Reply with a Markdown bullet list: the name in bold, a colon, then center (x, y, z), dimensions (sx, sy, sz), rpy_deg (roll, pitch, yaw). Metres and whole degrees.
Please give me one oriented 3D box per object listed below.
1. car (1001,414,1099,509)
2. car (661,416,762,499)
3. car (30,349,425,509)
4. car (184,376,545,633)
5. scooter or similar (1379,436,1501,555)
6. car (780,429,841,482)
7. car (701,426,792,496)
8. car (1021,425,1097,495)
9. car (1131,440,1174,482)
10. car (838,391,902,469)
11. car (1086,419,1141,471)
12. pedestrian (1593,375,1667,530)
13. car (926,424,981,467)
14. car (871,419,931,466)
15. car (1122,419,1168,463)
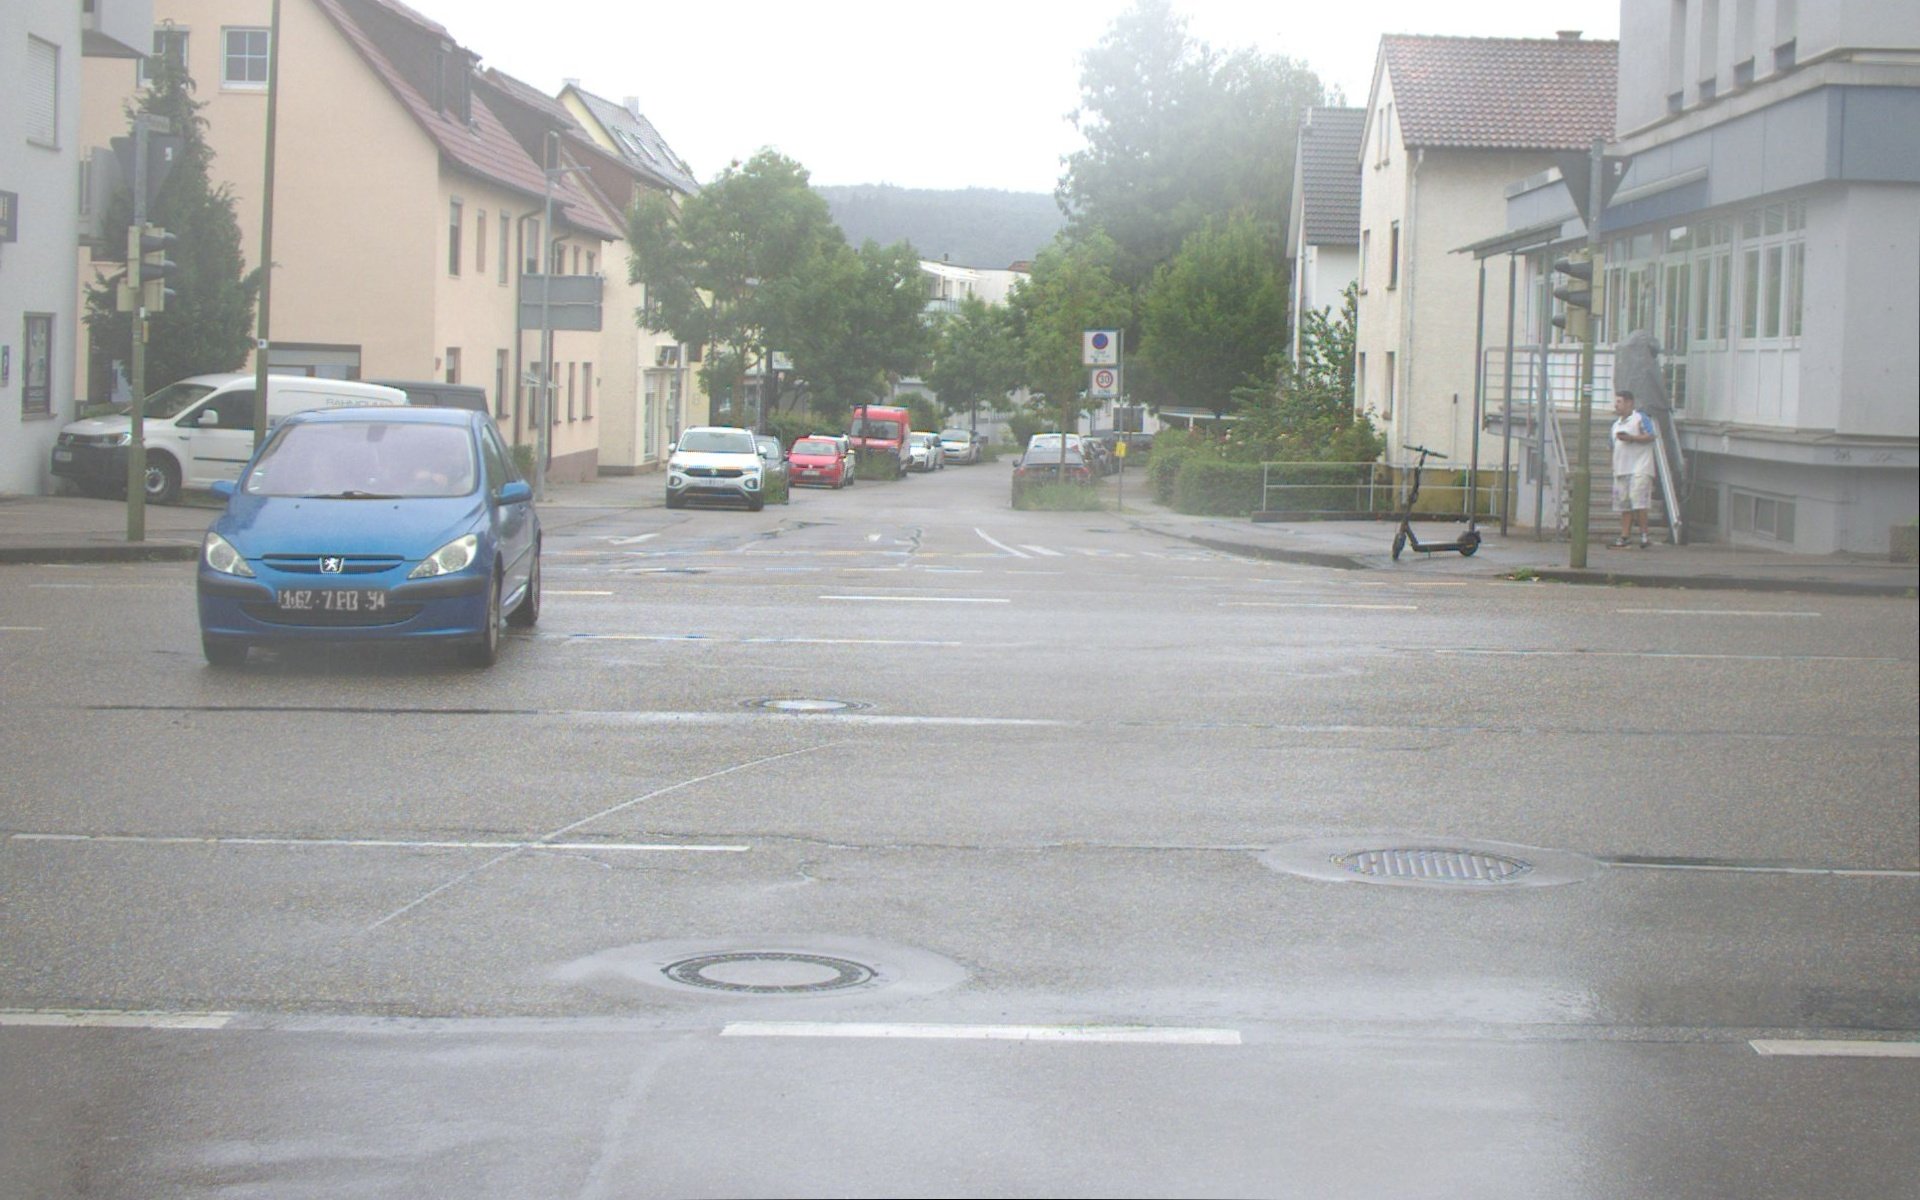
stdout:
- **car**: center (2.086, -3.157, 78.933), dimensions (1.994, 2.007, 3.999), rpy_deg (1, 0, 5)
- **car**: center (-4.701, -2.716, 65.453), dimensions (1.767, 1.518, 4.001), rpy_deg (0, 2, -2)
- **car**: center (-9.583, -2.211, 45.192), dimensions (4.715, 1.772, 1.772), rpy_deg (2, 0, -39)
- **car**: center (-3.626, -0.553, 21.550), dimensions (1.767, 1.440, 4.000), rpy_deg (1, 0, -3)
- **scooter or similar**: center (5.044, -1.090, 36.152), dimensions (1.058, 1.223, 0.802), rpy_deg (1, 0, -9)
- **car**: center (-4.460, -4.282, 102.021), dimensions (1.767, 1.513, 4.001), rpy_deg (0, 2, -3)
- **car**: center (-4.759, -3.119, 77.013), dimensions (1.767, 1.513, 4.195), rpy_deg (0, 2, 0)
- **car**: center (2.927, -4.120, 101.004), dimensions (1.994, 2.006, 4.000), rpy_deg (1, 2, 5)
- **car**: center (9.429, -6.803, 168.212), dimensions (1.994, 2.006, 4.000), rpy_deg (1, 2, 5)
- **car**: center (-3.228, -6.158, 124.844), dimensions (2.216, 2.759, 5.725), rpy_deg (0, 2, -1)
- **car**: center (6.060, -6.093, 135.566), dimensions (1.994, 2.006, 4.000), rpy_deg (1, 2, 5)
- **pedestrian**: center (7.262, -1.589, 37.267), dimensions (0.654, 1.646, 0.646), rpy_deg (1, 0, 0)
- **car**: center (-0.270, -6.813, 151.849), dimensions (1.994, 1.700, 3.999), rpy_deg (1, 0, 6)
- **car**: center (-2.310, -6.250, 136.327), dimensions (1.994, 1.678, 3.999), rpy_deg (1, 0, 5)
- **car**: center (8.599, -7.367, 159.557), dimensions (1.994, 2.006, 4.000), rpy_deg (1, 2, 5)
